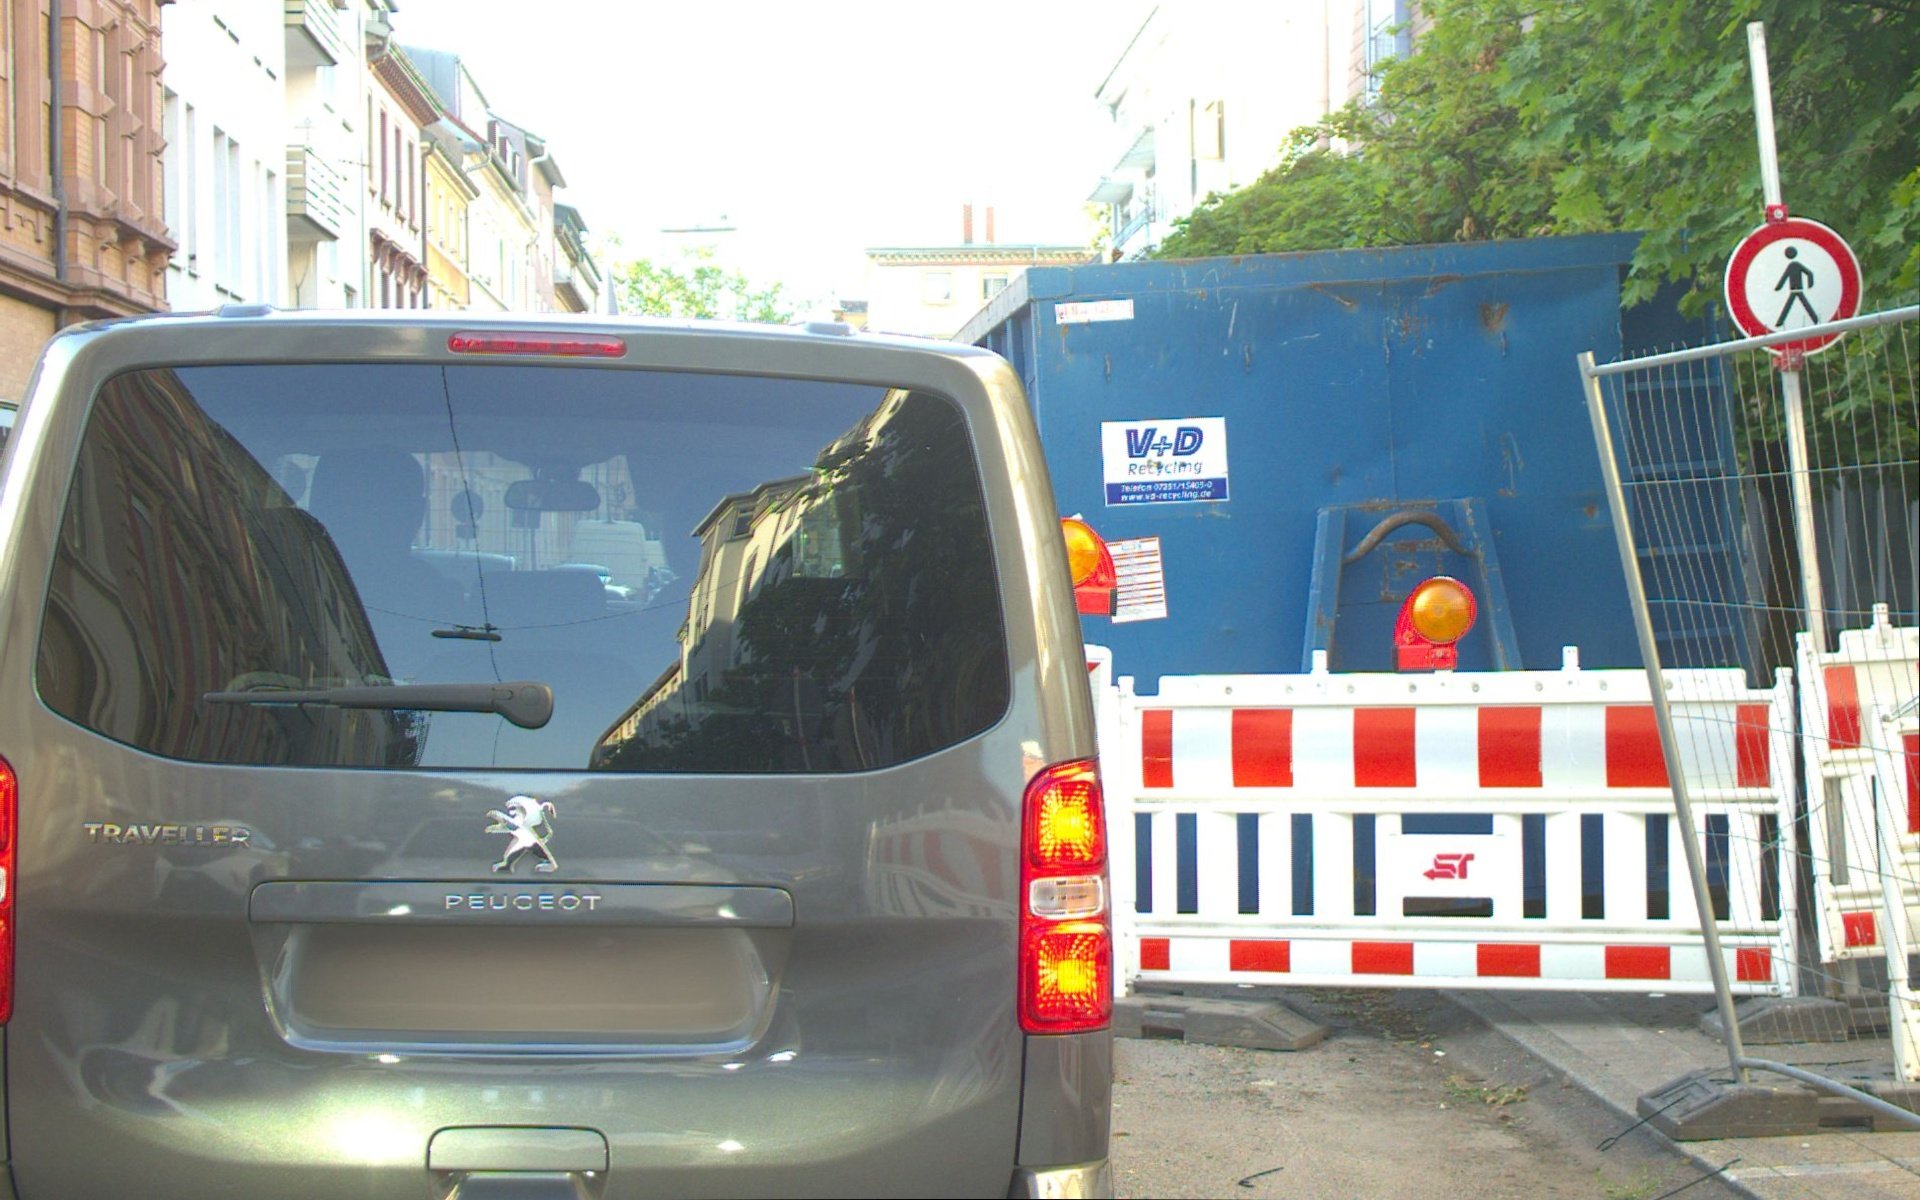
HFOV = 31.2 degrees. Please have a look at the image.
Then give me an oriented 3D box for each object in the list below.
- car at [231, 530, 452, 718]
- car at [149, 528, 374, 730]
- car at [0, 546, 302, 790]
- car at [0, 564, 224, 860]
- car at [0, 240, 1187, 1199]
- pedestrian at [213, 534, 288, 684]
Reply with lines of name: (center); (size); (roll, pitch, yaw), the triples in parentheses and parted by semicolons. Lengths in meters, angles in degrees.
car: (-6.297, 0.227, 35.372); (1.891, 1.714, 3.755); (4, 0, -7)
car: (-6.396, 0.250, 31.728); (1.666, 1.660, 3.092); (4, 0, -7)
car: (-5.736, 0.449, 24.645); (1.655, 1.520, 3.418); (4, 0, -7)
car: (-5.201, 0.552, 19.337); (1.655, 1.455, 3.418); (4, 0, -7)
car: (-0.857, 0.454, 6.736); (1.865, 1.880, 4.236); (0, 0, -7)
pedestrian: (-7.976, 0.095, 38.669); (0.739, 1.659, 0.704); (-1, 1, -7)
